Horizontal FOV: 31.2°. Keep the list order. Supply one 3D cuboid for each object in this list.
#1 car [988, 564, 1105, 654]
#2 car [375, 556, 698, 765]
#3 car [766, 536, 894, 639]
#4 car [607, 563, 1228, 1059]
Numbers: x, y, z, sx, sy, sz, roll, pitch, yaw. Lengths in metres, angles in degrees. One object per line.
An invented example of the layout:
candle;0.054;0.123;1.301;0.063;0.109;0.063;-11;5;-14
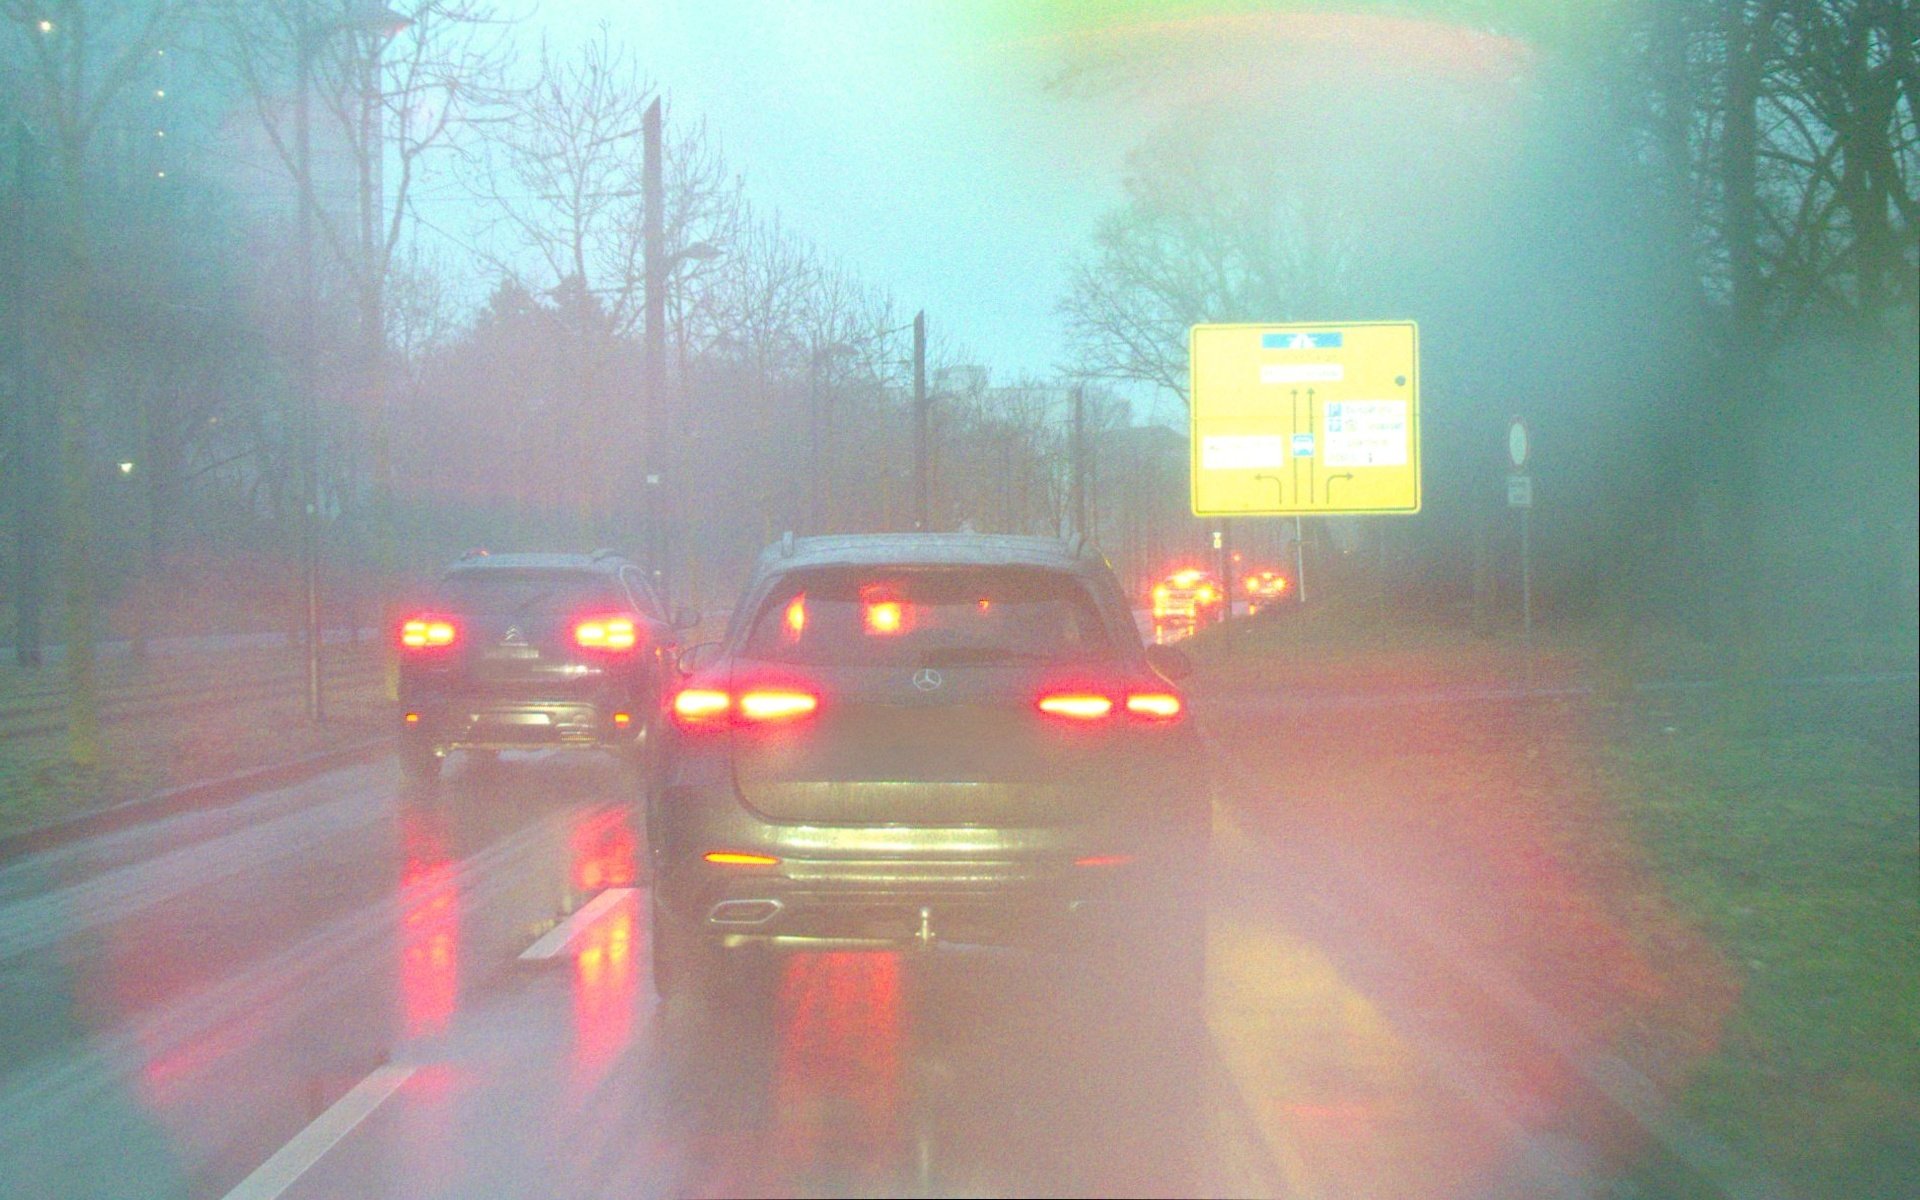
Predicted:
car;1.569;0.143;61.169;1.709;1.552;3.995;0;0;7
car;-3.158;0.403;26.400;1.880;1.454;4.000;-1;1;1
car;-2.056;-0.221;55.516;1.880;1.588;4.000;-1;1;0
car;-0.234;0.661;13.079;1.998;1.578;4.001;0;1;-3
